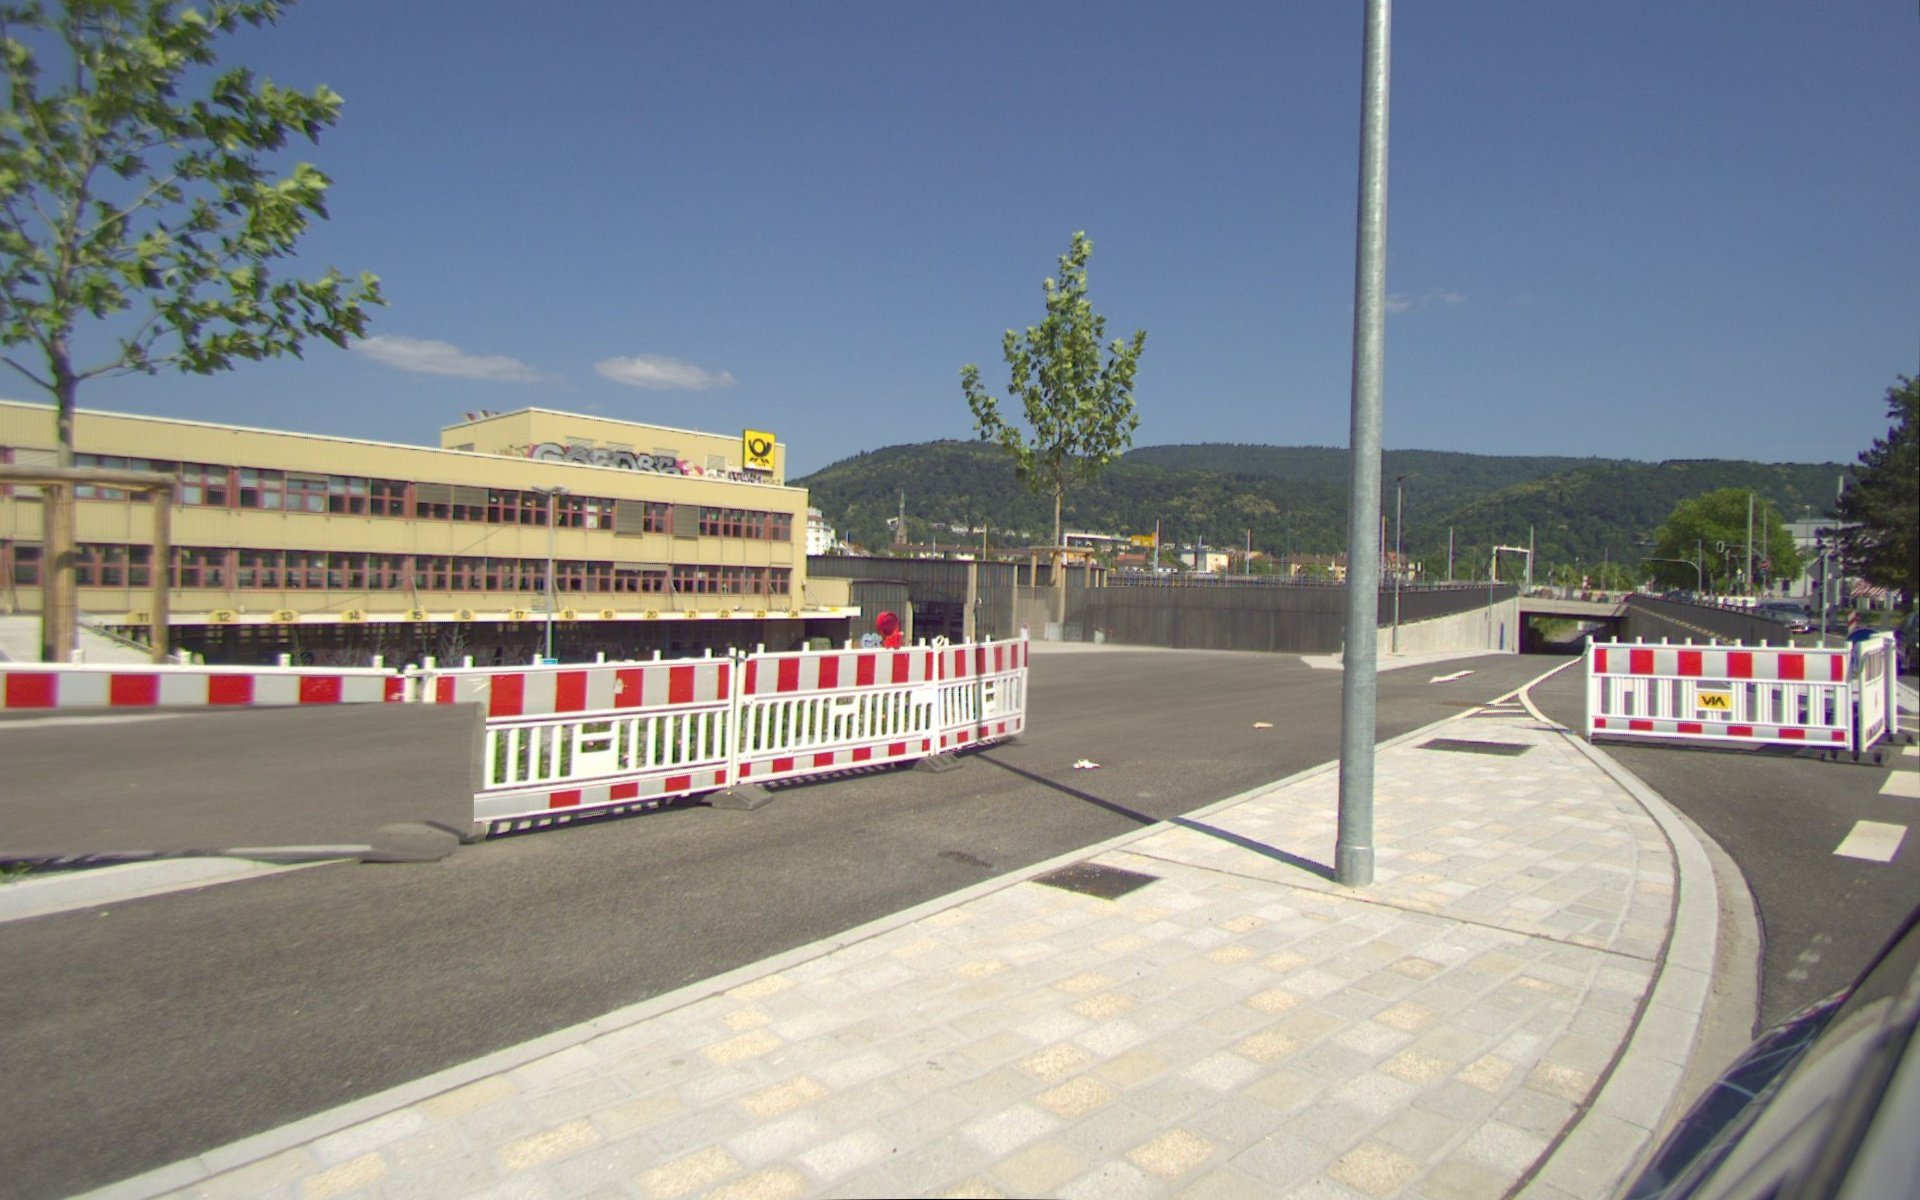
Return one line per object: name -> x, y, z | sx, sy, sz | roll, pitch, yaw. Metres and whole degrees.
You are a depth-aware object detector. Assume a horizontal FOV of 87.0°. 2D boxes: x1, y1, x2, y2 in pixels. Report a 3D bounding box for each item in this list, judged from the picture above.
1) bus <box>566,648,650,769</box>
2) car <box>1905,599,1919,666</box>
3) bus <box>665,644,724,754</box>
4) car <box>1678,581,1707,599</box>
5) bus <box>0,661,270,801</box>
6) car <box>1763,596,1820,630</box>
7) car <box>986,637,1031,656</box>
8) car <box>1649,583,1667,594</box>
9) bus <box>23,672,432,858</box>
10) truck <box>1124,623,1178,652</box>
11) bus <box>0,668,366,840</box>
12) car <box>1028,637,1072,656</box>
bus -> -17.172, 4.884, 50.398 | 2.609, 3.810, 17.166 | -1, 1, -15
car -> 23.060, 0.775, 23.245 | 1.611, 1.459, 3.657 | 2, 2, 38
bus -> -14.415, 4.905, 55.013 | 2.609, 3.810, 17.516 | -1, 1, -15
car -> 65.250, -0.898, 90.189 | 1.606, 1.459, 3.730 | 1, 2, 29
bus -> -33.922, 4.917, 40.416 | 2.619, 3.810, 13.123 | 0, 1, 6
car -> 39.588, 0.587, 48.277 | 1.608, 1.459, 3.725 | 1, 2, 32
car -> 4.709, 4.519, 98.985 | 4.352, 1.604, 1.720 | 1, 2, 42
car -> 94.118, -1.528, 136.498 | 1.605, 1.459, 3.731 | 1, 2, 28
bus -> -23.704, 5.013, 34.476 | 2.622, 3.810, 13.106 | 0, 1, 10
truck -> 21.544, 4.160, 113.782 | 1.992, 2.792, 8.267 | 1, 2, 42
bus -> -27.525, 4.983, 36.465 | 2.622, 3.810, 13.106 | 0, 1, 10
car -> 9.176, 4.727, 103.627 | 4.352, 1.604, 1.720 | 1, 2, 42
